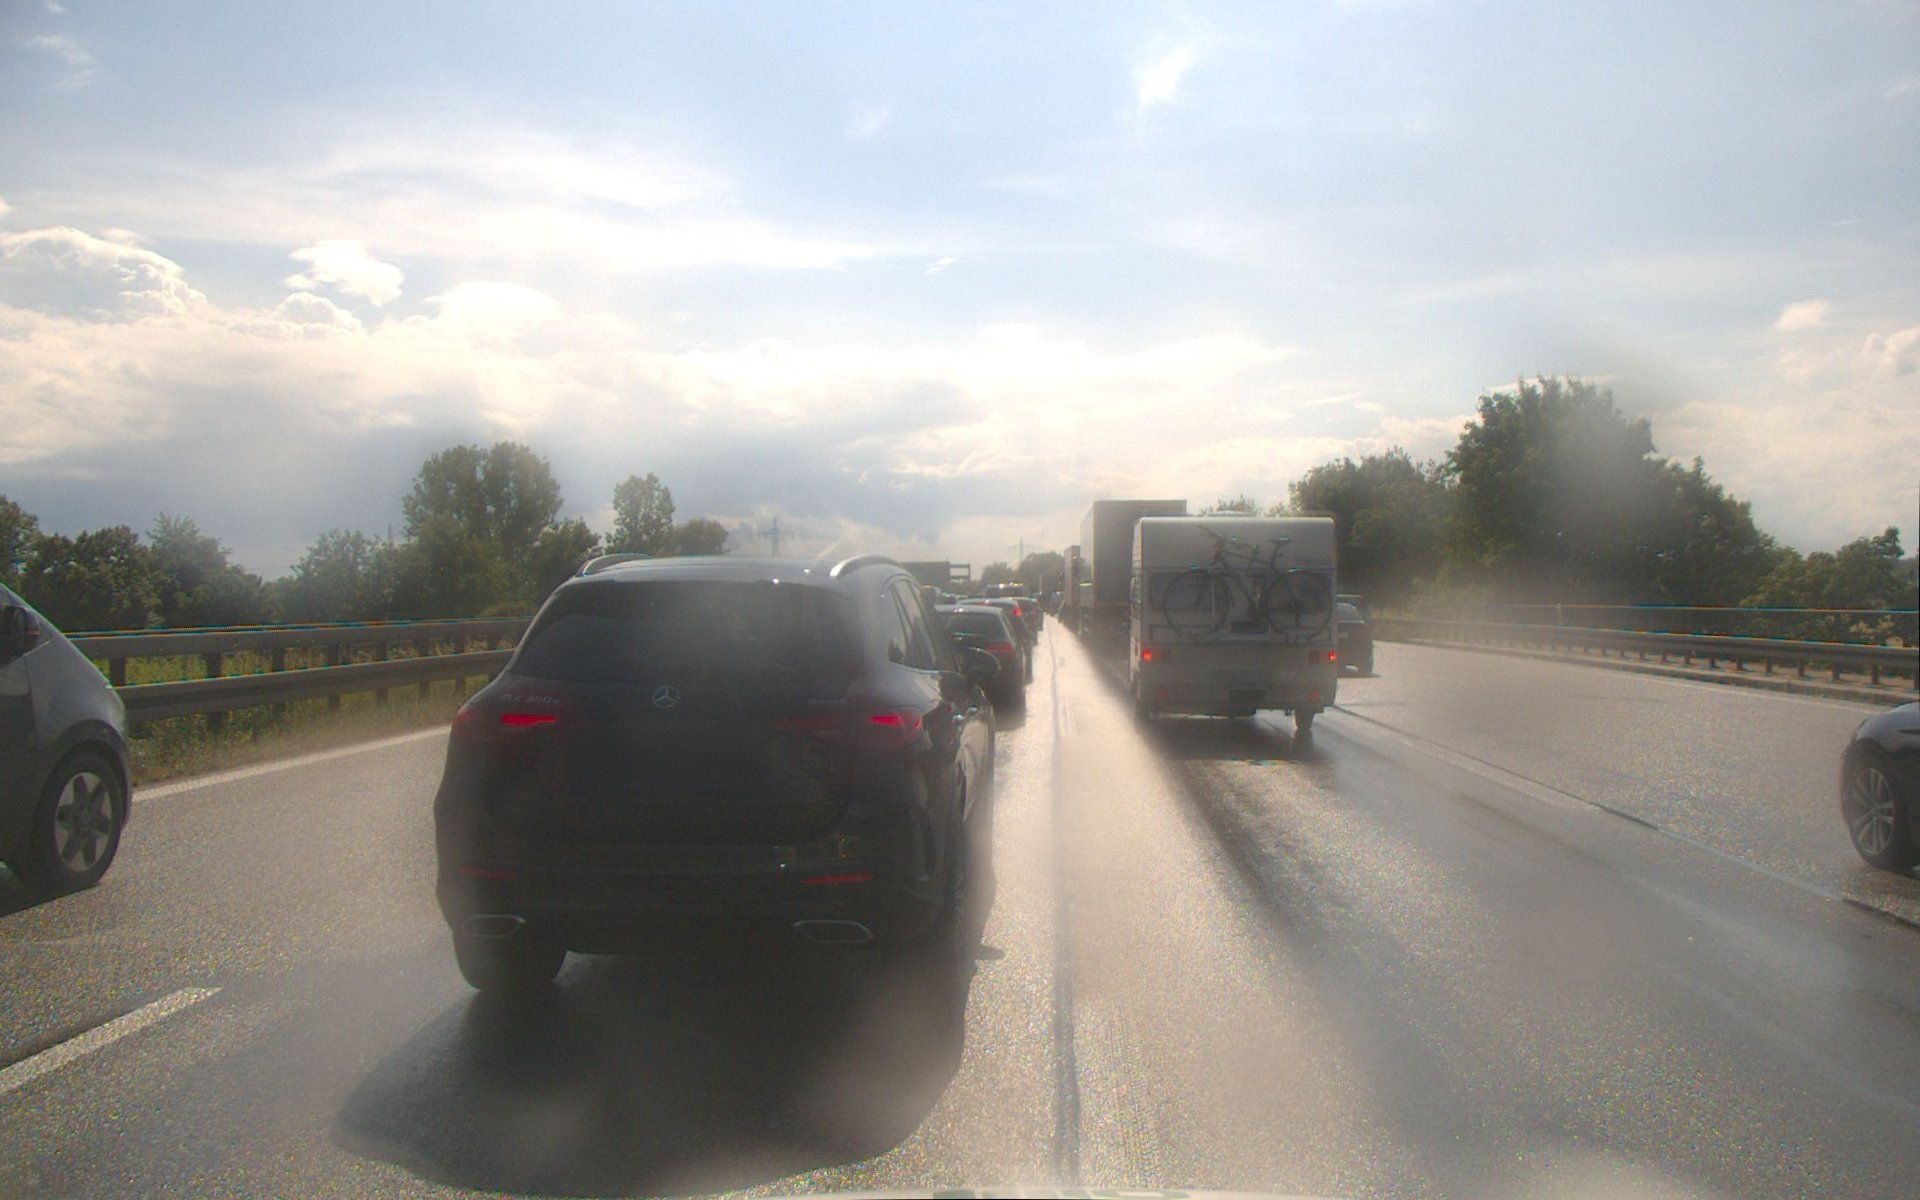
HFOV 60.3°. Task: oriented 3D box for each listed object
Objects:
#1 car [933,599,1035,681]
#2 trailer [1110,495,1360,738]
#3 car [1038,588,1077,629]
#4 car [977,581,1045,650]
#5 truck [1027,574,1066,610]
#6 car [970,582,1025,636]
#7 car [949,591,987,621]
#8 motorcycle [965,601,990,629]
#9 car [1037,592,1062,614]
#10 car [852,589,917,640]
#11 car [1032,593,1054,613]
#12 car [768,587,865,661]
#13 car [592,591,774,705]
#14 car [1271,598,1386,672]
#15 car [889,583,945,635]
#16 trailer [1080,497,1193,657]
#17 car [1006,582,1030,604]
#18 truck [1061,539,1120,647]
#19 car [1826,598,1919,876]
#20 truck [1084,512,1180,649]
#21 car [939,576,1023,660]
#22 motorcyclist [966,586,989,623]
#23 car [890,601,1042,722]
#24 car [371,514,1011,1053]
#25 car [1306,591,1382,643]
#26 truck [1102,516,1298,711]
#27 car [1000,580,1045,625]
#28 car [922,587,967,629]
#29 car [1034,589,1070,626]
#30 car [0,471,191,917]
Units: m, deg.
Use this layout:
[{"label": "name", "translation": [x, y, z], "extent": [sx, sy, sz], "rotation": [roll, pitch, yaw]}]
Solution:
[{"label": "car", "translation": [0.516, 0.713, 31.388], "extent": [1.768, 1.432, 4.002], "rotation": [1, 0, 3]}, {"label": "trailer", "translation": [3.182, 0.183, 20.651], "extent": [2.324, 2.527, 6.525], "rotation": [1, 0, 3]}, {"label": "car", "translation": [5.222, 0.439, 88.433], "extent": [1.952, 2.049, 4.002], "rotation": [2, 0, 4]}, {"label": "car", "translation": [1.700, 0.494, 54.051], "extent": [1.952, 2.048, 4.002], "rotation": [4, 0, 4]}, {"label": "truck", "translation": [10.006, -0.911, 192.345], "extent": [3.765, 4.087, 11.218], "rotation": [1, 0, -1]}, {"label": "car", "translation": [1.512, 0.345, 65.647], "extent": [1.952, 2.049, 4.002], "rotation": [1, 0, 4]}, {"label": "car", "translation": [0.505, 0.341, 98.995], "extent": [1.952, 1.644, 4.002], "rotation": [4, 0, 4]}, {"label": "motorcycle", "translation": [0.839, 0.713, 79.019], "extent": [1.051, 1.293, 2.691], "rotation": [0, 0, 4]}, {"label": "car", "translation": [7.304, 0.252, 134.869], "extent": [1.837, 1.791, 4.000], "rotation": [1, 0, 0]}, {"label": "car", "translation": [-2.725, 0.505, 60.528], "extent": [1.952, 1.803, 4.002], "rotation": [0, 0, 4]}, {"label": "car", "translation": [7.704, 0.306, 153.820], "extent": [1.837, 1.791, 4.000], "rotation": [1, 0, 0]}, {"label": "car", "translation": [-3.540, 0.580, 41.415], "extent": [1.952, 1.750, 4.001], "rotation": [1, 0, 2]}, {"label": "car", "translation": [-3.993, 0.643, 24.498], "extent": [1.720, 1.543, 4.211], "rotation": [0, 0, 4]}, {"label": "car", "translation": [7.565, 0.687, 34.292], "extent": [1.704, 1.445, 3.837], "rotation": [0, 0, 3]}, {"label": "car", "translation": [-1.835, 0.366, 71.578], "extent": [1.952, 2.048, 4.002], "rotation": [4, 0, 4]}, {"label": "trailer", "translation": [5.070, -0.600, 48.233], "extent": [2.943, 4.239, 8.541], "rotation": [0, 0, 5]}, {"label": "car", "translation": [4.865, -0.557, 139.369], "extent": [1.837, 1.791, 4.000], "rotation": [1, 0, 0]}, {"label": "truck", "translation": [6.180, -0.296, 79.310], "extent": [2.450, 4.914, 7.545], "rotation": [1, 0, 2]}, {"label": "car", "translation": [5.990, 0.719, 7.721], "extent": [1.810, 1.490, 4.257], "rotation": [-1, 0, 3]}, {"label": "truck", "translation": [5.551, -0.601, 53.744], "extent": [2.932, 4.239, 5.243], "rotation": [0, 0, 5]}, {"label": "car", "translation": [0.600, 0.439, 42.760], "extent": [1.952, 2.049, 4.002], "rotation": [1, 0, 4]}, {"label": "motorcyclist", "translation": [0.847, 0.225, 79.141], "extent": [1.041, 1.748, 0.785], "rotation": [0, 0, 3]}, {"label": "car", "translation": [0.162, 0.723, 21.465], "extent": [1.720, 1.411, 3.947], "rotation": [0, 0, 4]}, {"label": "car", "translation": [-0.791, 0.583, 7.435], "extent": [1.952, 1.690, 4.407], "rotation": [0, 0, 3]}, {"label": "car", "translation": [12.606, 0.544, 54.510], "extent": [1.751, 1.641, 4.387], "rotation": [0, 0, 3]}, {"label": "truck", "translation": [3.383, 0.186, 24.515], "extent": [2.324, 2.520, 5.758], "rotation": [1, 0, 3]}, {"label": "car", "translation": [2.966, 0.114, 77.455], "extent": [1.952, 2.049, 4.002], "rotation": [-1, 0, 4]}, {"label": "car", "translation": [-0.741, 0.378, 82.024], "extent": [1.952, 2.049, 4.002], "rotation": [0, 0, 4]}, {"label": "car", "translation": [5.497, 0.455, 98.538], "extent": [1.952, 2.048, 4.002], "rotation": [4, 0, 4]}, {"label": "car", "translation": [-5.446, 0.437, 6.663], "extent": [1.952, 2.049, 5.272], "rotation": [0, 0, 4]}]
